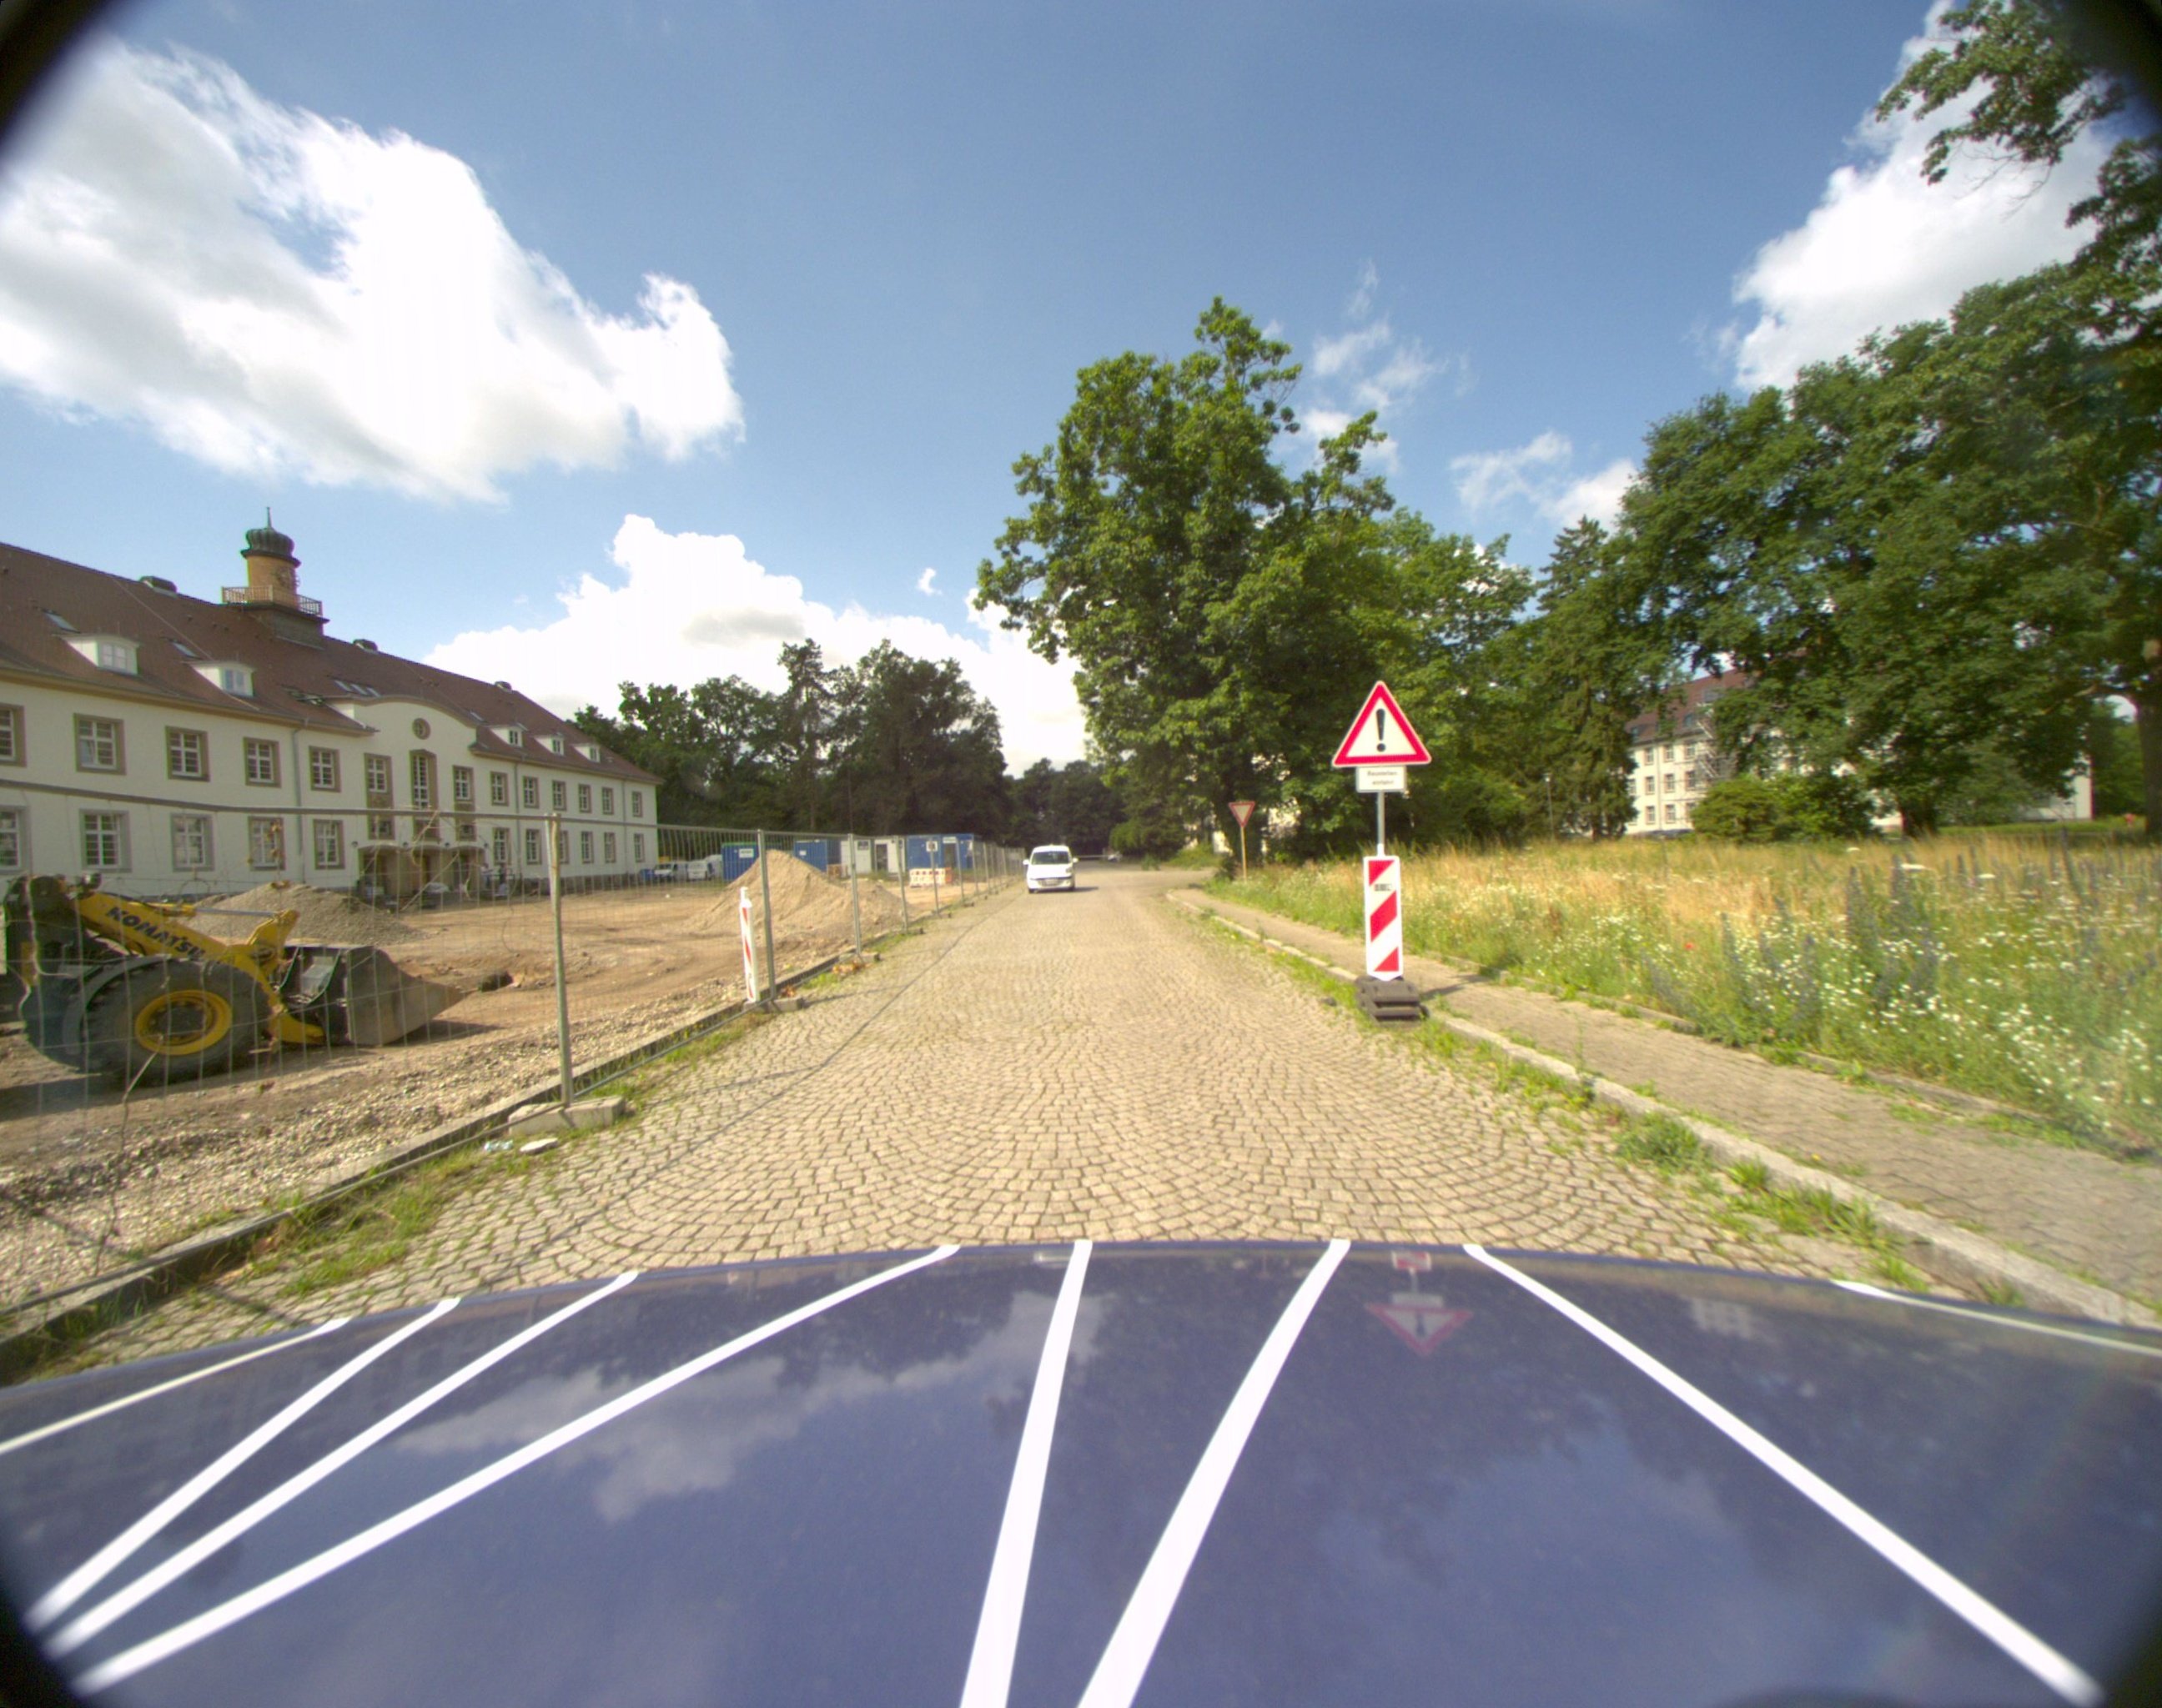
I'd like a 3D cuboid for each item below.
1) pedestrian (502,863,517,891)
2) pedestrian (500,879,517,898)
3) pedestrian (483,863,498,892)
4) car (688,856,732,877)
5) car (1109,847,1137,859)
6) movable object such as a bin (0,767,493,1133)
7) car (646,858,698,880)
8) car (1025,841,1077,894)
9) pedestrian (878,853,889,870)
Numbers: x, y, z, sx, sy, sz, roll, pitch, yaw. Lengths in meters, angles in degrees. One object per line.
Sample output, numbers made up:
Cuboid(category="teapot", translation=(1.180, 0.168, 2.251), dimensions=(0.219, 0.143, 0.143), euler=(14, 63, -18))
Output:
Cuboid(category="pedestrian", translation=(-37.083, 1.465, 49.270), dimensions=(0.491, 1.777, 0.506), euler=(-3, 1, -3))
Cuboid(category="pedestrian", translation=(-35.803, 2.167, 47.519), dimensions=(0.491, 1.108, 0.709), euler=(-3, 1, -2))
Cuboid(category="pedestrian", translation=(-37.172, 1.487, 47.812), dimensions=(0.490, 1.777, 0.507), euler=(-2, 1, 22))
Cuboid(category="car", translation=(-32.796, 1.118, 67.329), dimensions=(1.802, 1.674, 4.039), euler=(-2, 1, 1))
Cuboid(category="car", translation=(6.362, -0.156, 115.512), dimensions=(4.084, 1.634, 1.766), euler=(-2, 1, -1))
Cuboid(category="movable object such as a bin", translation=(-8.328, 0.676, 5.767), dimensions=(2.144, 2.507, 5.666), euler=(-1, 0, 28))
Cuboid(category="car", translation=(-35.966, 1.284, 66.997), dimensions=(1.884, 1.718, 4.707), euler=(-2, 1, 1))
Cuboid(category="car", translation=(-1.217, 0.514, 30.313), dimensions=(1.839, 1.857, 4.829), euler=(-2, 0, -3))
Cuboid(category="pedestrian", translation=(-14.604, 0.547, 56.168), dimensions=(0.602, 1.236, 0.682), euler=(-3, 1, -2))
